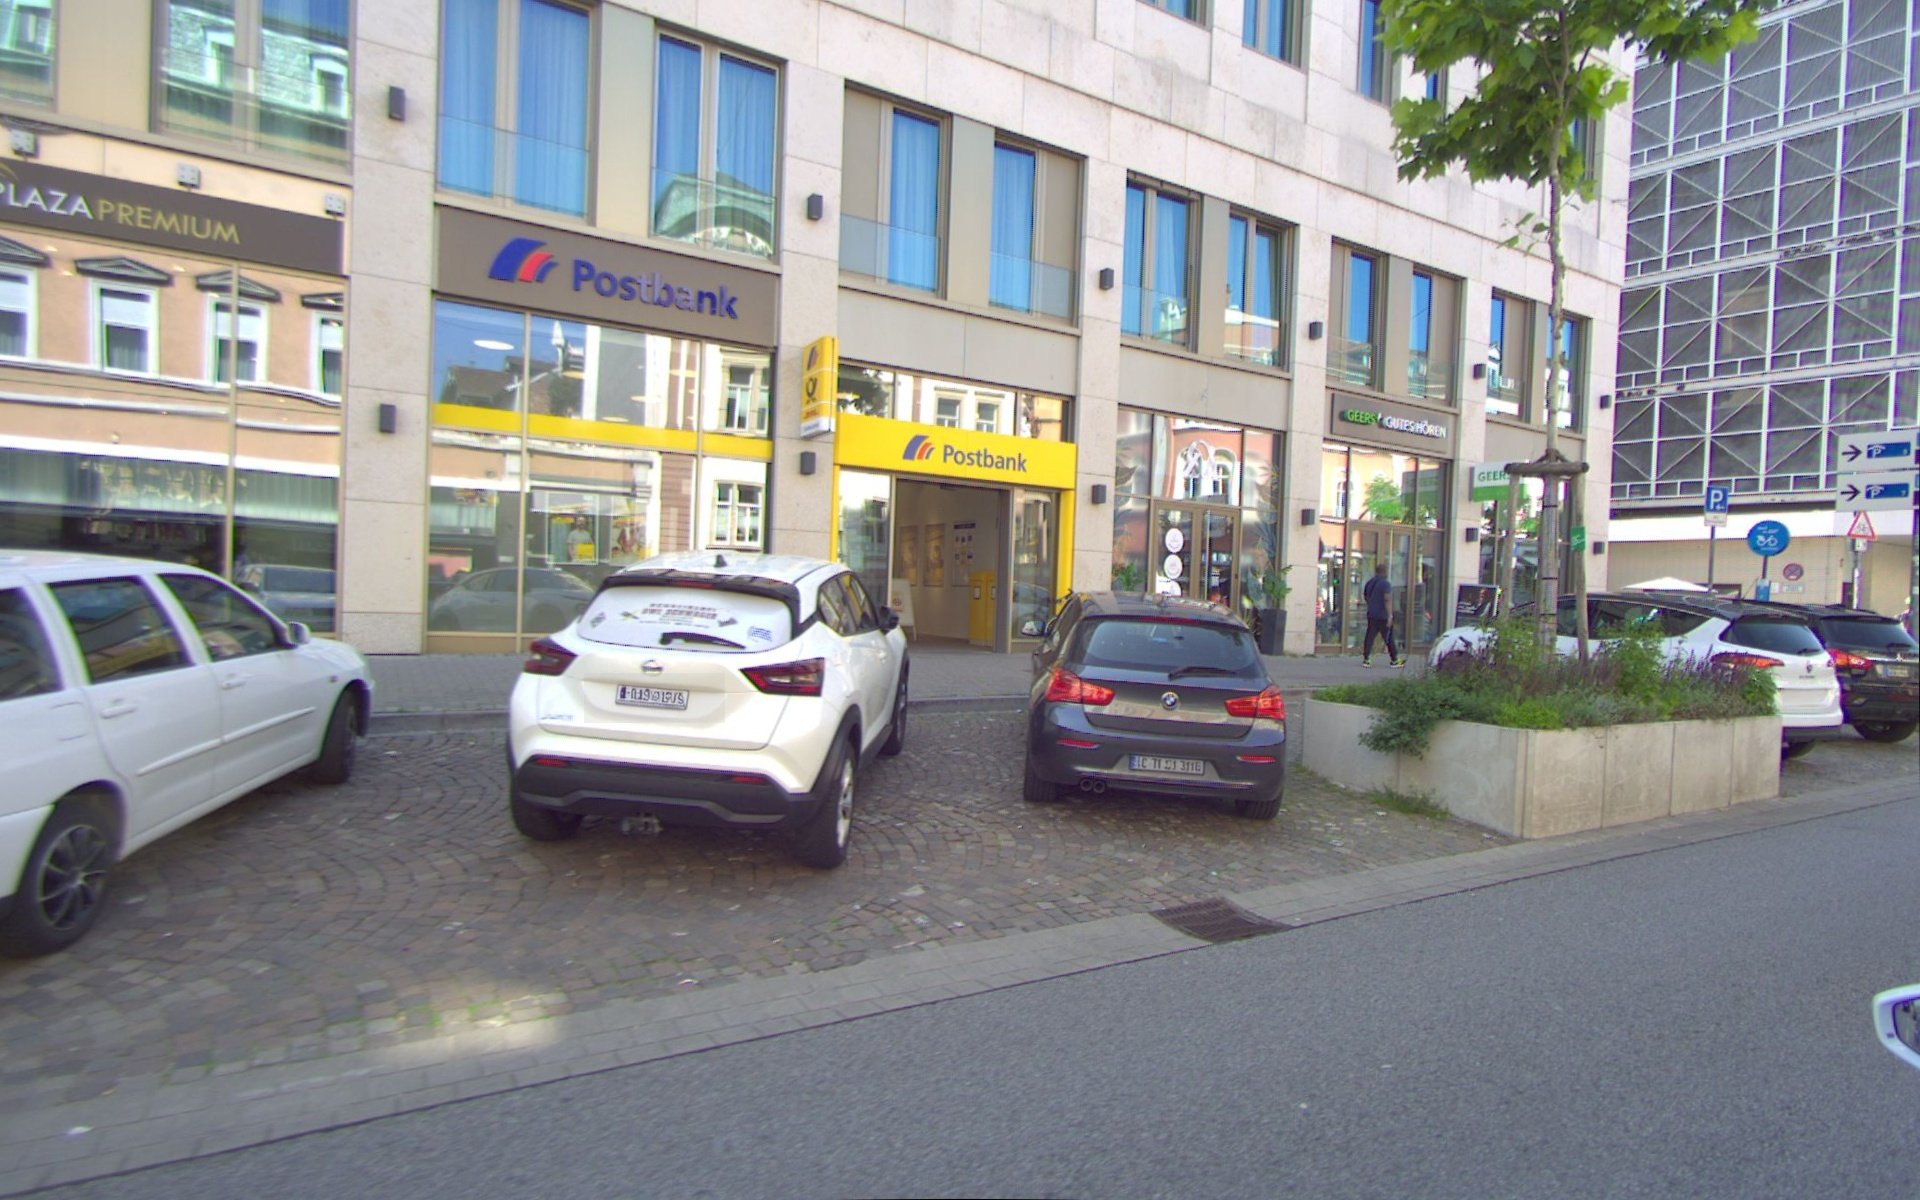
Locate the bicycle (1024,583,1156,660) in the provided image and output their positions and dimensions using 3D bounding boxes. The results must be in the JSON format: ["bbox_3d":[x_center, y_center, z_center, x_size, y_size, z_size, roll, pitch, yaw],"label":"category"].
[{"bbox_3d":[2.038,0.342,15.615,2.136,1.122,0.493,1,3,-31],"label":"bicycle"}]

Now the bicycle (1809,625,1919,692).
[{"bbox_3d":[17.710,1.100,19.478,0.634,1.142,2.063,1,1,-3],"label":"bicycle"}]

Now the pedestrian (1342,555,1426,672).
[{"bbox_3d":[7.236,0.224,17.154,0.834,1.904,0.834,2,4,-29],"label":"pedestrian"}]

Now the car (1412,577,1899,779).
[{"bbox_3d":[7.743,0.727,11.752,2.071,1.659,4.149,2,4,-21],"label":"car"}]

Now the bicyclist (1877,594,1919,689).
[{"bbox_3d":[20.650,0.891,21.717,1.003,1.986,0.839,2,1,-24],"label":"bicyclist"}]

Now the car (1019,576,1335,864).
[{"bbox_3d":[1.418,0.653,8.060,1.751,1.469,4.319,3,3,4],"label":"car"}]

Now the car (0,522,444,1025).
[{"bbox_3d":[-4.334,0.439,5.009,1.830,1.452,4.491,3,5,-10],"label":"car"}]

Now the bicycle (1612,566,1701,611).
[{"bbox_3d":[21.023,-0.323,30.333,2.177,1.284,0.733,-1,-1,38],"label":"bicycle"}]

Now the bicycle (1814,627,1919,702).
[{"bbox_3d":[16.405,1.121,17.835,0.551,1.142,2.062,1,3,-5],"label":"bicycle"}]

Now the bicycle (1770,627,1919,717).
[{"bbox_3d":[13.484,1.050,14.980,0.479,1.142,2.131,0,3,-28],"label":"bicycle"}]

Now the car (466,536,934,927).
[{"bbox_3d":[-1.279,0.485,6.642,1.783,1.615,4.038,4,5,3],"label":"car"}]

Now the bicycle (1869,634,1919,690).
[{"bbox_3d":[20.744,1.345,21.317,0.787,1.142,1.982,0,1,-22],"label":"bicycle"}]

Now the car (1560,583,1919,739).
[{"bbox_3d":[10.535,0.694,13.664,1.922,1.624,4.029,3,2,-7],"label":"car"}]

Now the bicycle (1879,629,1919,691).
[{"bbox_3d":[18.994,1.185,19.484,0.593,1.184,2.066,2,0,7],"label":"bicycle"}]
